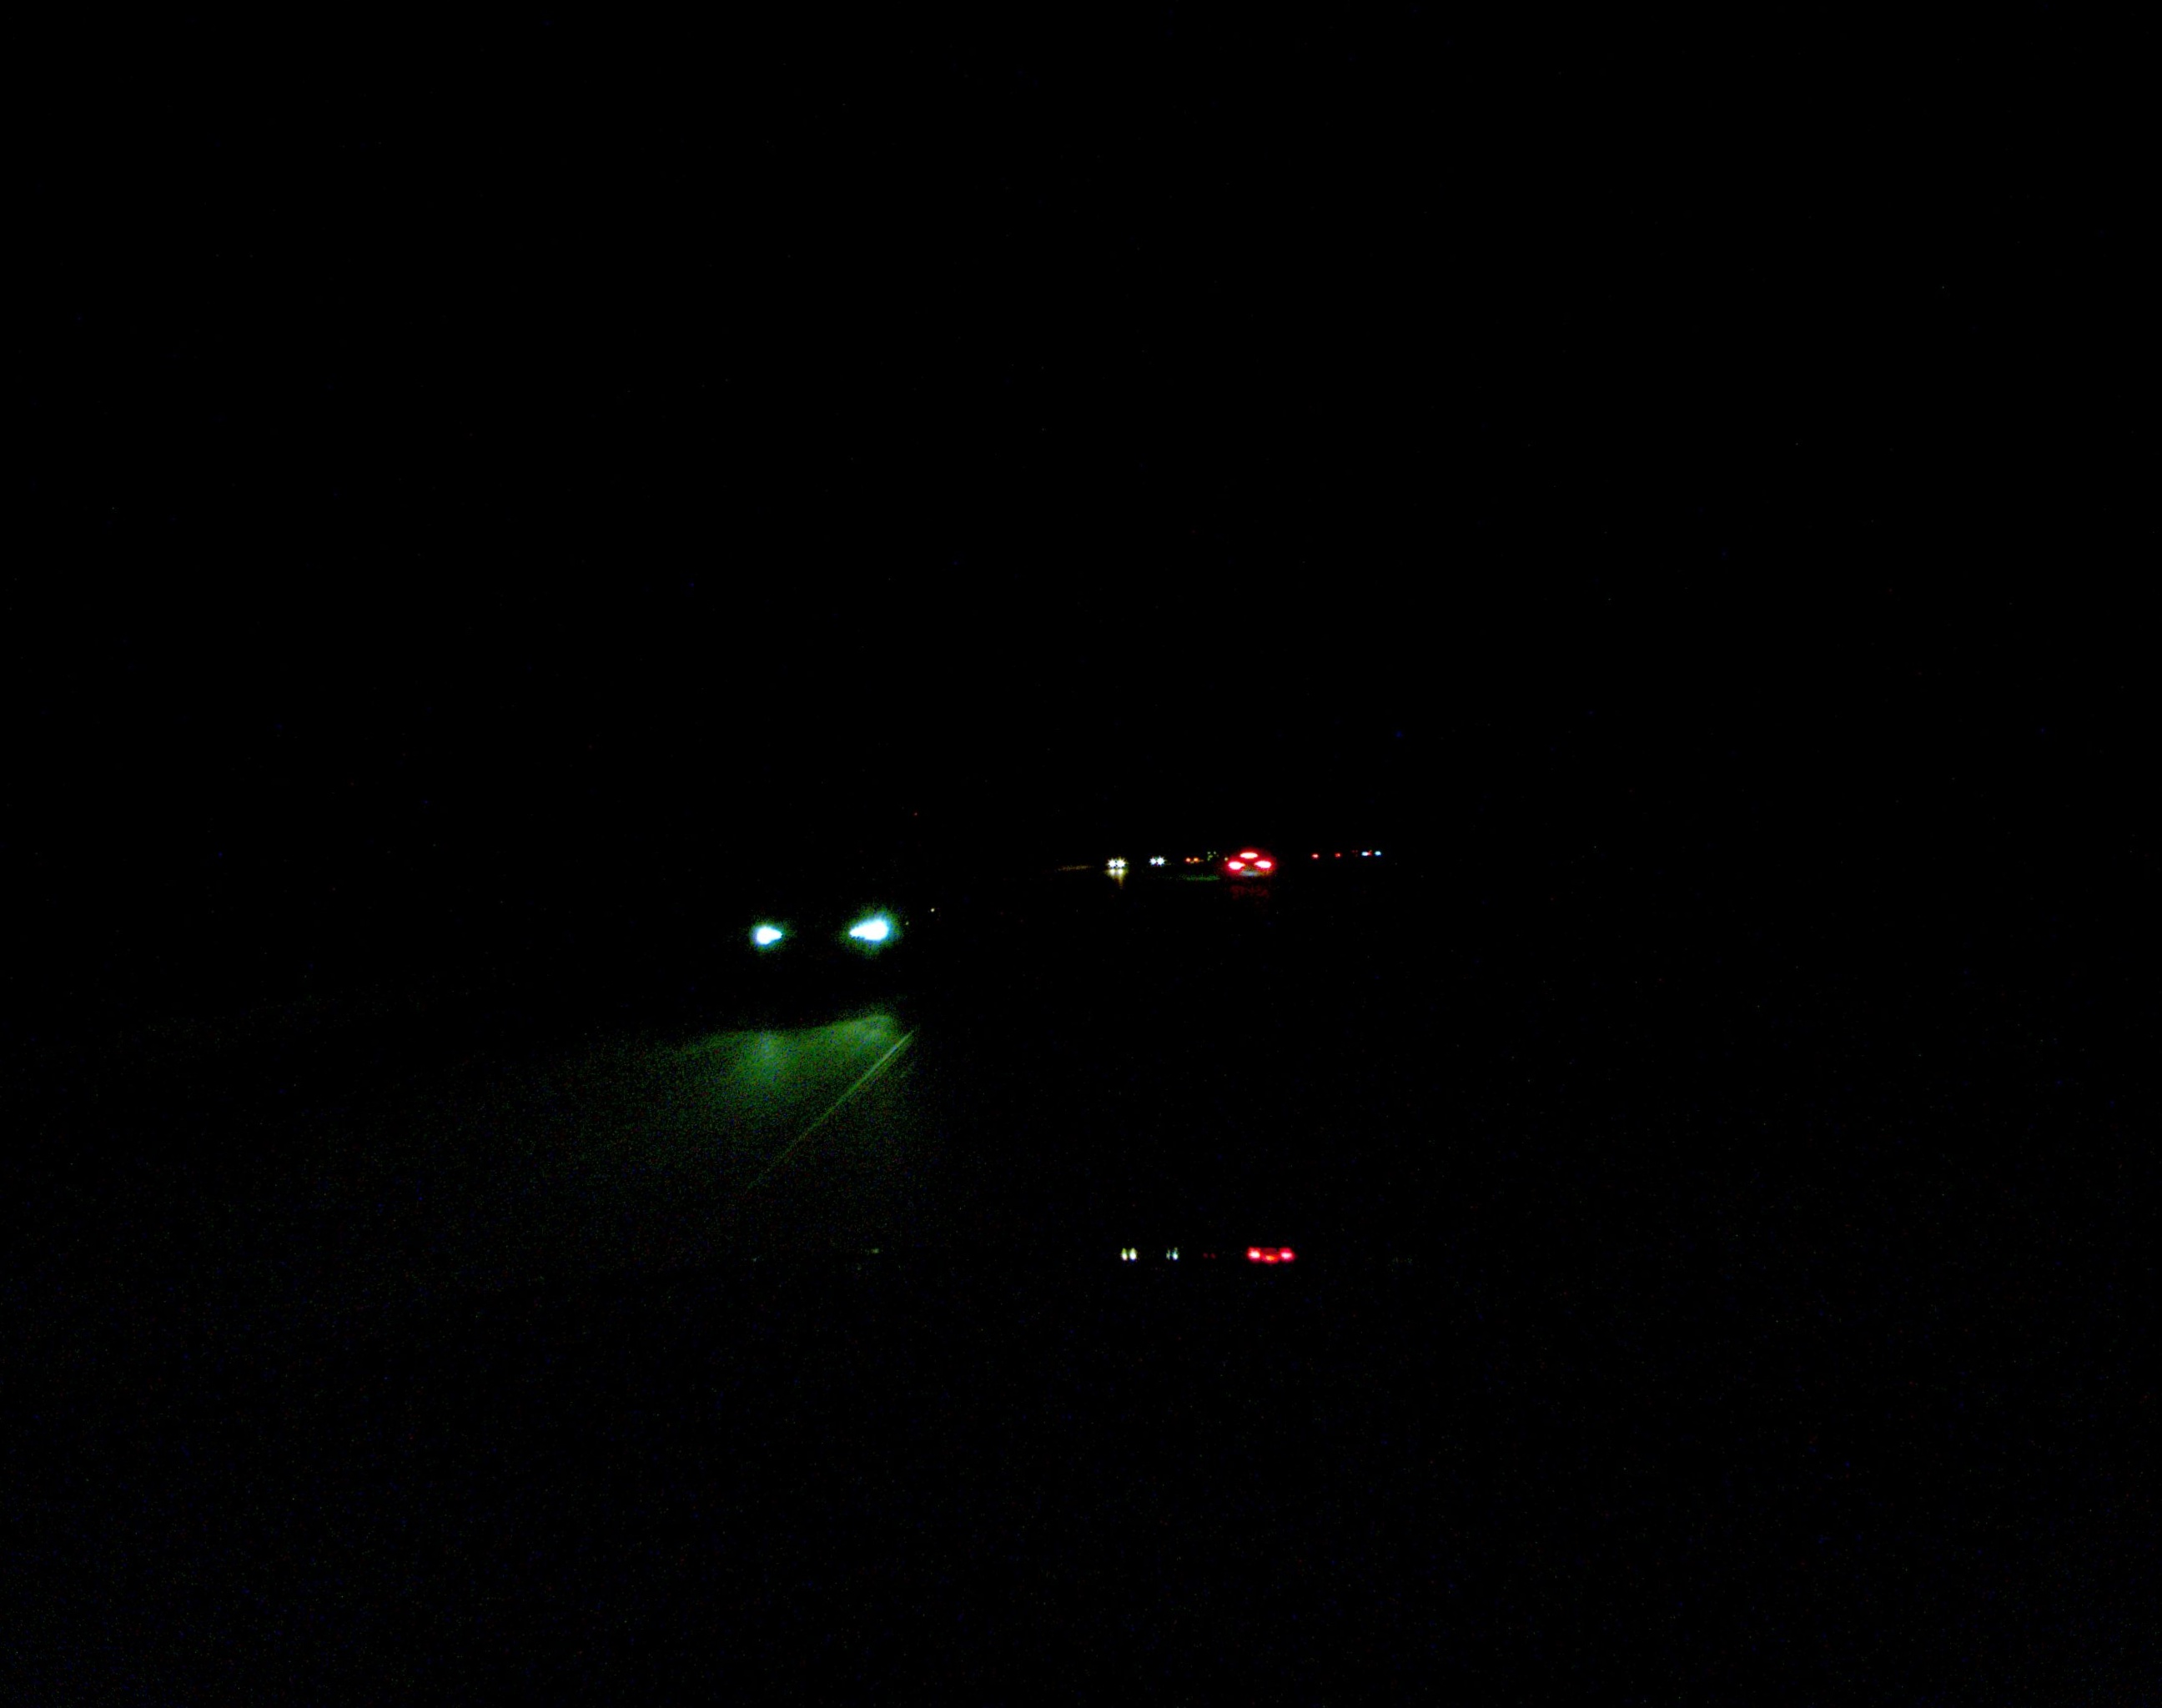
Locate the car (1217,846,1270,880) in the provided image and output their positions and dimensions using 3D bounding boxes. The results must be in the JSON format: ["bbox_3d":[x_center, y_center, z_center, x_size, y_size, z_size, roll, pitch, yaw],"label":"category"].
[{"bbox_3d":[7.734,0.404,36.553,1.716,1.435,4.487,-2,1,3],"label":"car"}]

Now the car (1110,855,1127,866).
[{"bbox_3d":[5.197,0.898,103.916,1.811,1.508,3.939,0,-1,10],"label":"car"}]

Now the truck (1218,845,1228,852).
[{"bbox_3d":[46.993,-1.848,250.786,2.423,2.410,7.101,0,0,18],"label":"truck"}]

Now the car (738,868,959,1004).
[{"bbox_3d":[-3.181,1.035,11.568,1.812,1.418,4.873,-2,1,0],"label":"car"}]

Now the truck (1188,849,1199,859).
[{"bbox_3d":[18.108,0.007,122.218,1.686,1.461,4.155,-2,1,9],"label":"truck"}]

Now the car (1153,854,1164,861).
[{"bbox_3d":[16.061,0.714,157.754,1.811,1.508,3.940,0,-1,13],"label":"car"}]

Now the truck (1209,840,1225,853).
[{"bbox_3d":[47.151,-2.706,262.477,2.967,4.250,17.166,0,1,19],"label":"truck"}]
